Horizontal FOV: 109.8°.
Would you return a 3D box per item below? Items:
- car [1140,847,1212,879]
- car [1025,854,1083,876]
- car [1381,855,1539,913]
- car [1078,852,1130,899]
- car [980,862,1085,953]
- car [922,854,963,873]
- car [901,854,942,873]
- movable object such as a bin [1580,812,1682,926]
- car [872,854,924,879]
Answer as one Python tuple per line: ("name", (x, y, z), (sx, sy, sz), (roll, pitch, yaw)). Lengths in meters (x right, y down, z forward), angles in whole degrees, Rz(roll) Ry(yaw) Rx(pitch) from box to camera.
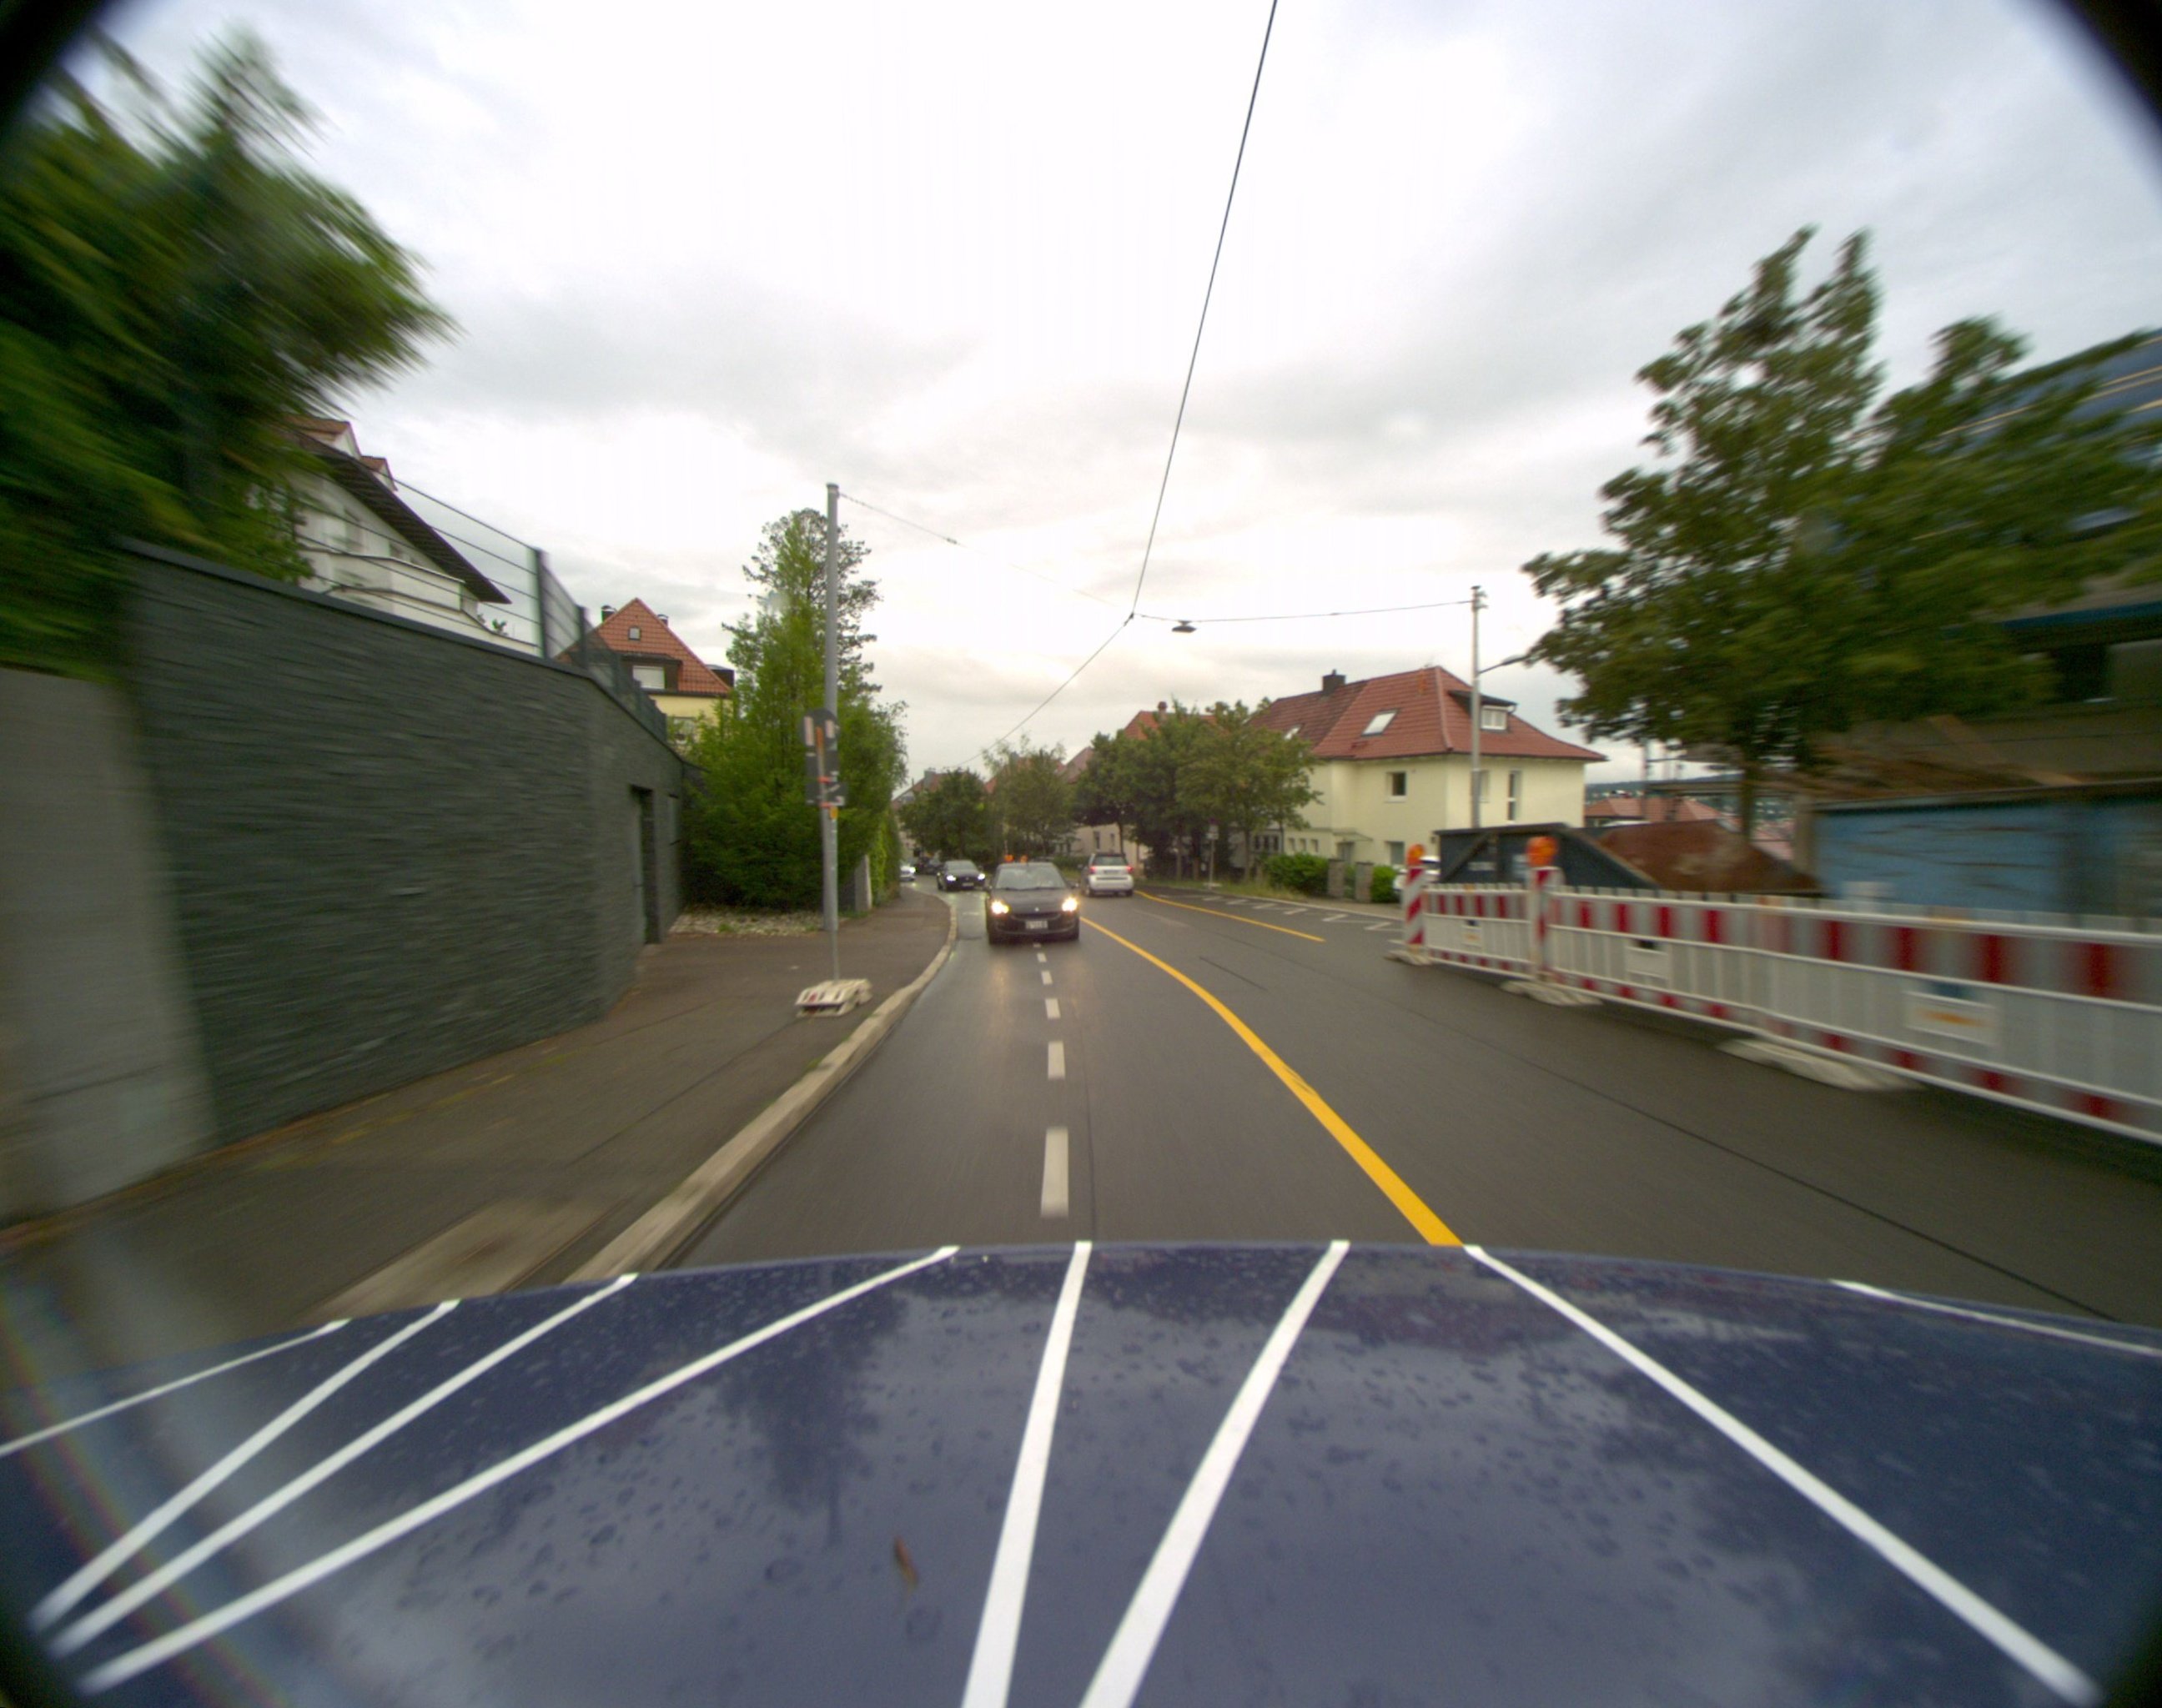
("car", (5.859, 0.539, 46.954), (3.956, 1.534, 1.860), (-6, 2, -22))
("car", (-2.256, 0.906, 63.316), (4.258, 1.495, 1.910), (5, -1, -22))
("car", (11.579, 0.917, 23.254), (4.215, 1.595, 1.947), (2, 1, -21))
("car", (0.778, 0.739, 27.386), (1.460, 1.517, 2.921), (-2, 1, -5))
("car", (-1.104, 0.935, 15.256), (1.747, 1.434, 4.356), (-3, 1, -7))
("car", (-11.726, 0.769, 64.132), (1.714, 1.375, 4.518), (-4, 2, -32))
("car", (-14.343, 0.840, 68.072), (1.741, 1.476, 4.518), (-5, 3, -37))
("movable object such as a bin", (12.565, 0.319, 17.394), (1.318, 2.491, 1.384), (-1, 1, -19))
("car", (-13.242, 0.882, 54.782), (2.023, 1.728, 4.587), (-2, 1, -36))
